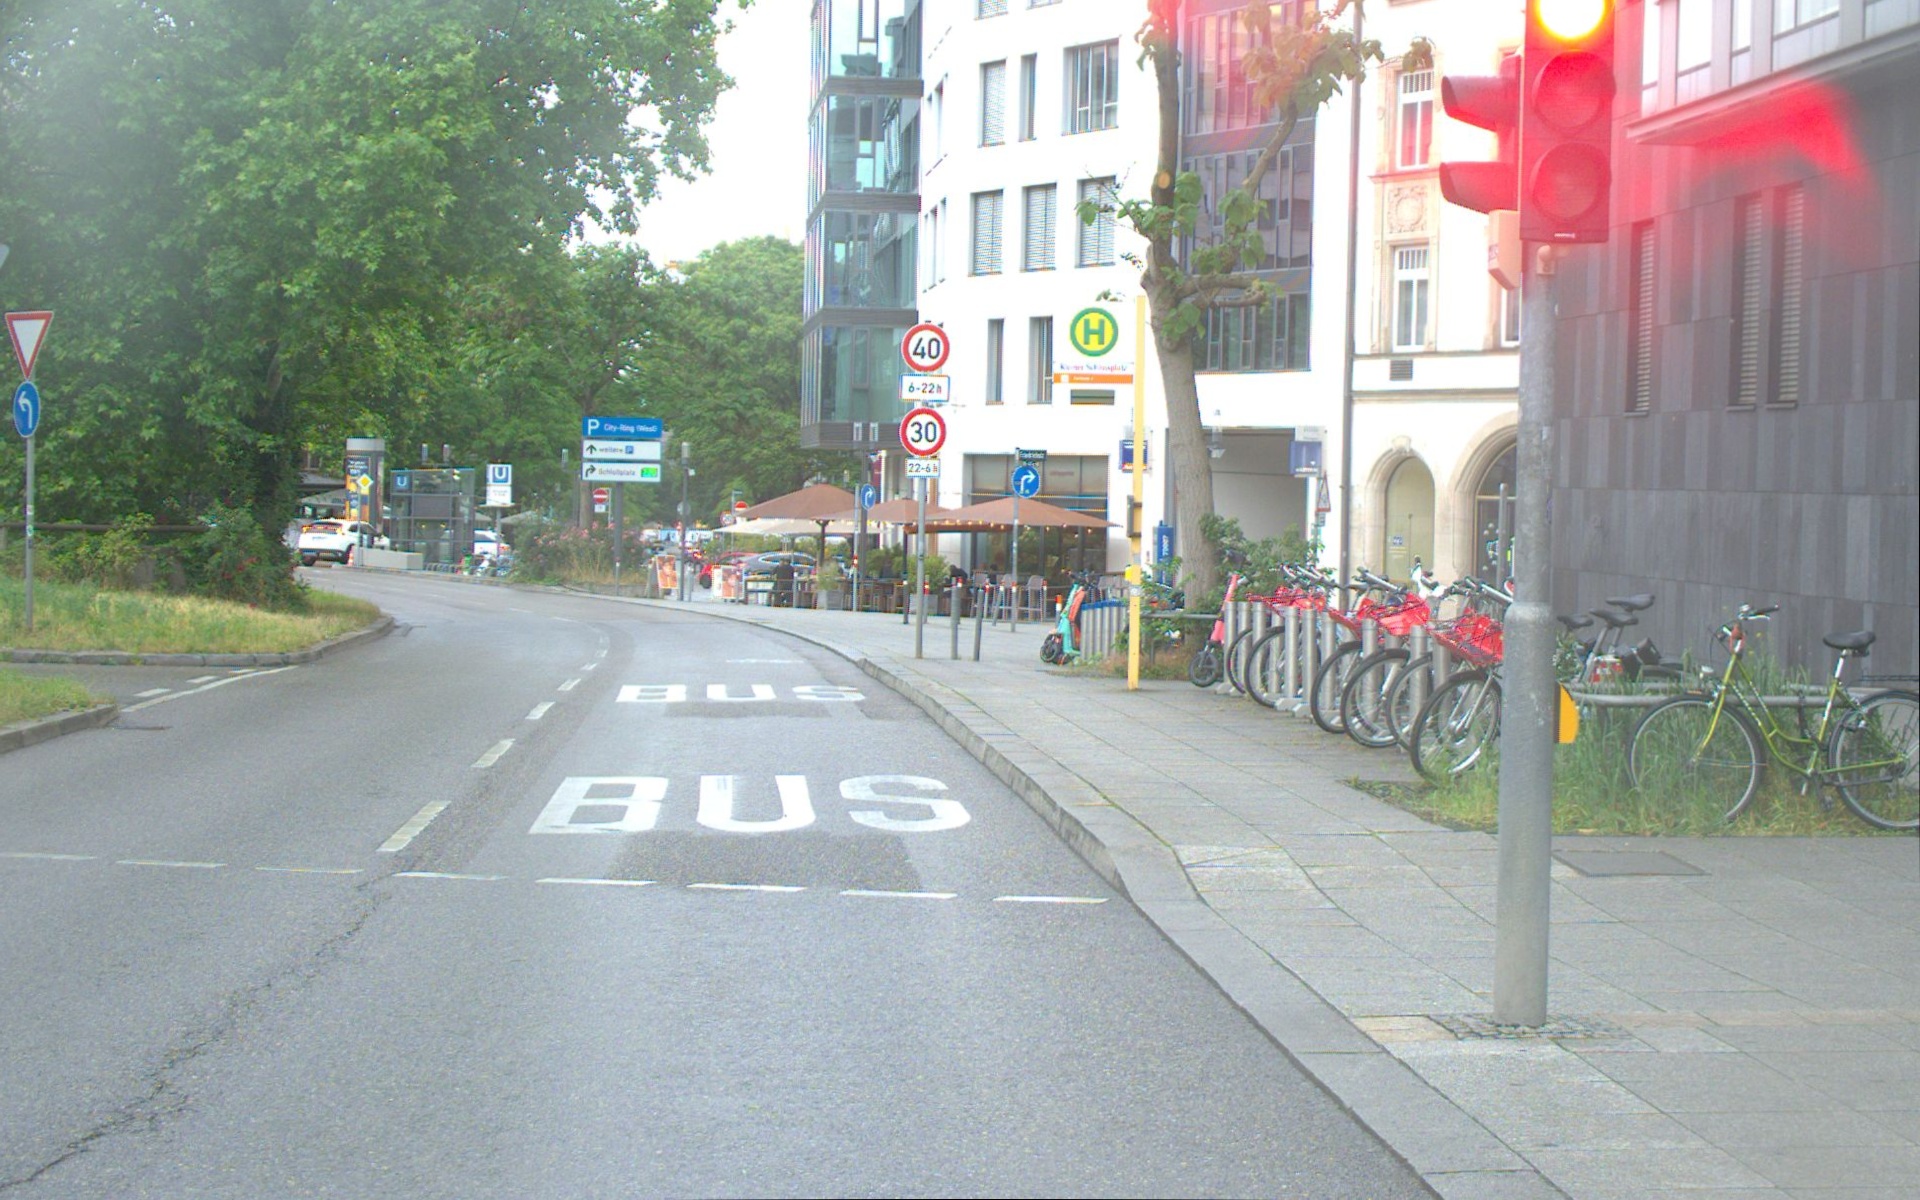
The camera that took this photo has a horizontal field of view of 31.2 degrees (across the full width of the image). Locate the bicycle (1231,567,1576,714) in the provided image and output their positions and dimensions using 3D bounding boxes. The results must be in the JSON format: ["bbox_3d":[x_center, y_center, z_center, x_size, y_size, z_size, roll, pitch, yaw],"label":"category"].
[{"bbox_3d":[3.397,0.309,26.422,2.535,1.083,0.677,1,1,-5],"label":"bicycle"}]

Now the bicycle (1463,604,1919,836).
[{"bbox_3d":[3.742,0.569,16.463,2.535,1.053,0.677,1,1,-5],"label":"bicycle"}]

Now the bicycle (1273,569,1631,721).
[{"bbox_3d":[3.647,0.329,25.583,2.535,1.083,0.677,1,1,-5],"label":"bicycle"}]

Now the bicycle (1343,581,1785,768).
[{"bbox_3d":[3.644,0.446,20.823,2.535,1.083,0.677,1,1,-5],"label":"bicycle"}]

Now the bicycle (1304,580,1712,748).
[{"bbox_3d":[3.573,0.413,22.500,2.535,1.056,0.677,1,1,-5],"label":"bicycle"}]

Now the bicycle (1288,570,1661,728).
[{"bbox_3d":[3.670,0.348,24.605,2.535,1.083,0.677,1,1,-5],"label":"bicycle"}]

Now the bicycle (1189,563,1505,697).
[{"bbox_3d":[3.232,0.250,28.810,2.535,1.083,0.677,1,1,-5],"label":"bicycle"}]

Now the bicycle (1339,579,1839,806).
[{"bbox_3d":[3.410,0.496,18.743,2.535,1.083,0.677,3,1,-5],"label":"bicycle"}]

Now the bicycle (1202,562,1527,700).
[{"bbox_3d":[3.288,0.251,28.063,2.535,1.083,0.677,1,1,-5],"label":"bicycle"}]

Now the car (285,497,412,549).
[{"bbox_3d":[-21.099,-2.654,118.664,2.183,1.695,3.993,2,1,31],"label":"car"}]

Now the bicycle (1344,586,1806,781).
[{"bbox_3d":[3.555,0.479,19.969,2.535,1.083,0.677,1,1,-5],"label":"bicycle"}]

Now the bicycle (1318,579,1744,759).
[{"bbox_3d":[3.578,0.426,21.633,2.535,1.083,0.677,1,1,-5],"label":"bicycle"}]

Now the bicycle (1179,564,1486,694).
[{"bbox_3d":[3.188,0.245,29.533,2.535,1.083,0.627,1,1,-5],"label":"bicycle"}]

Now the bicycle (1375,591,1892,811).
[{"bbox_3d":[3.497,0.519,17.940,2.535,1.083,0.677,1,1,-5],"label":"bicycle"}]

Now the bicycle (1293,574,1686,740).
[{"bbox_3d":[3.592,0.382,23.409,2.535,1.083,0.677,1,1,-5],"label":"bicycle"}]

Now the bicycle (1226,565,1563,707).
[{"bbox_3d":[3.423,0.280,27.174,2.535,1.083,0.677,1,1,-5],"label":"bicycle"}]
